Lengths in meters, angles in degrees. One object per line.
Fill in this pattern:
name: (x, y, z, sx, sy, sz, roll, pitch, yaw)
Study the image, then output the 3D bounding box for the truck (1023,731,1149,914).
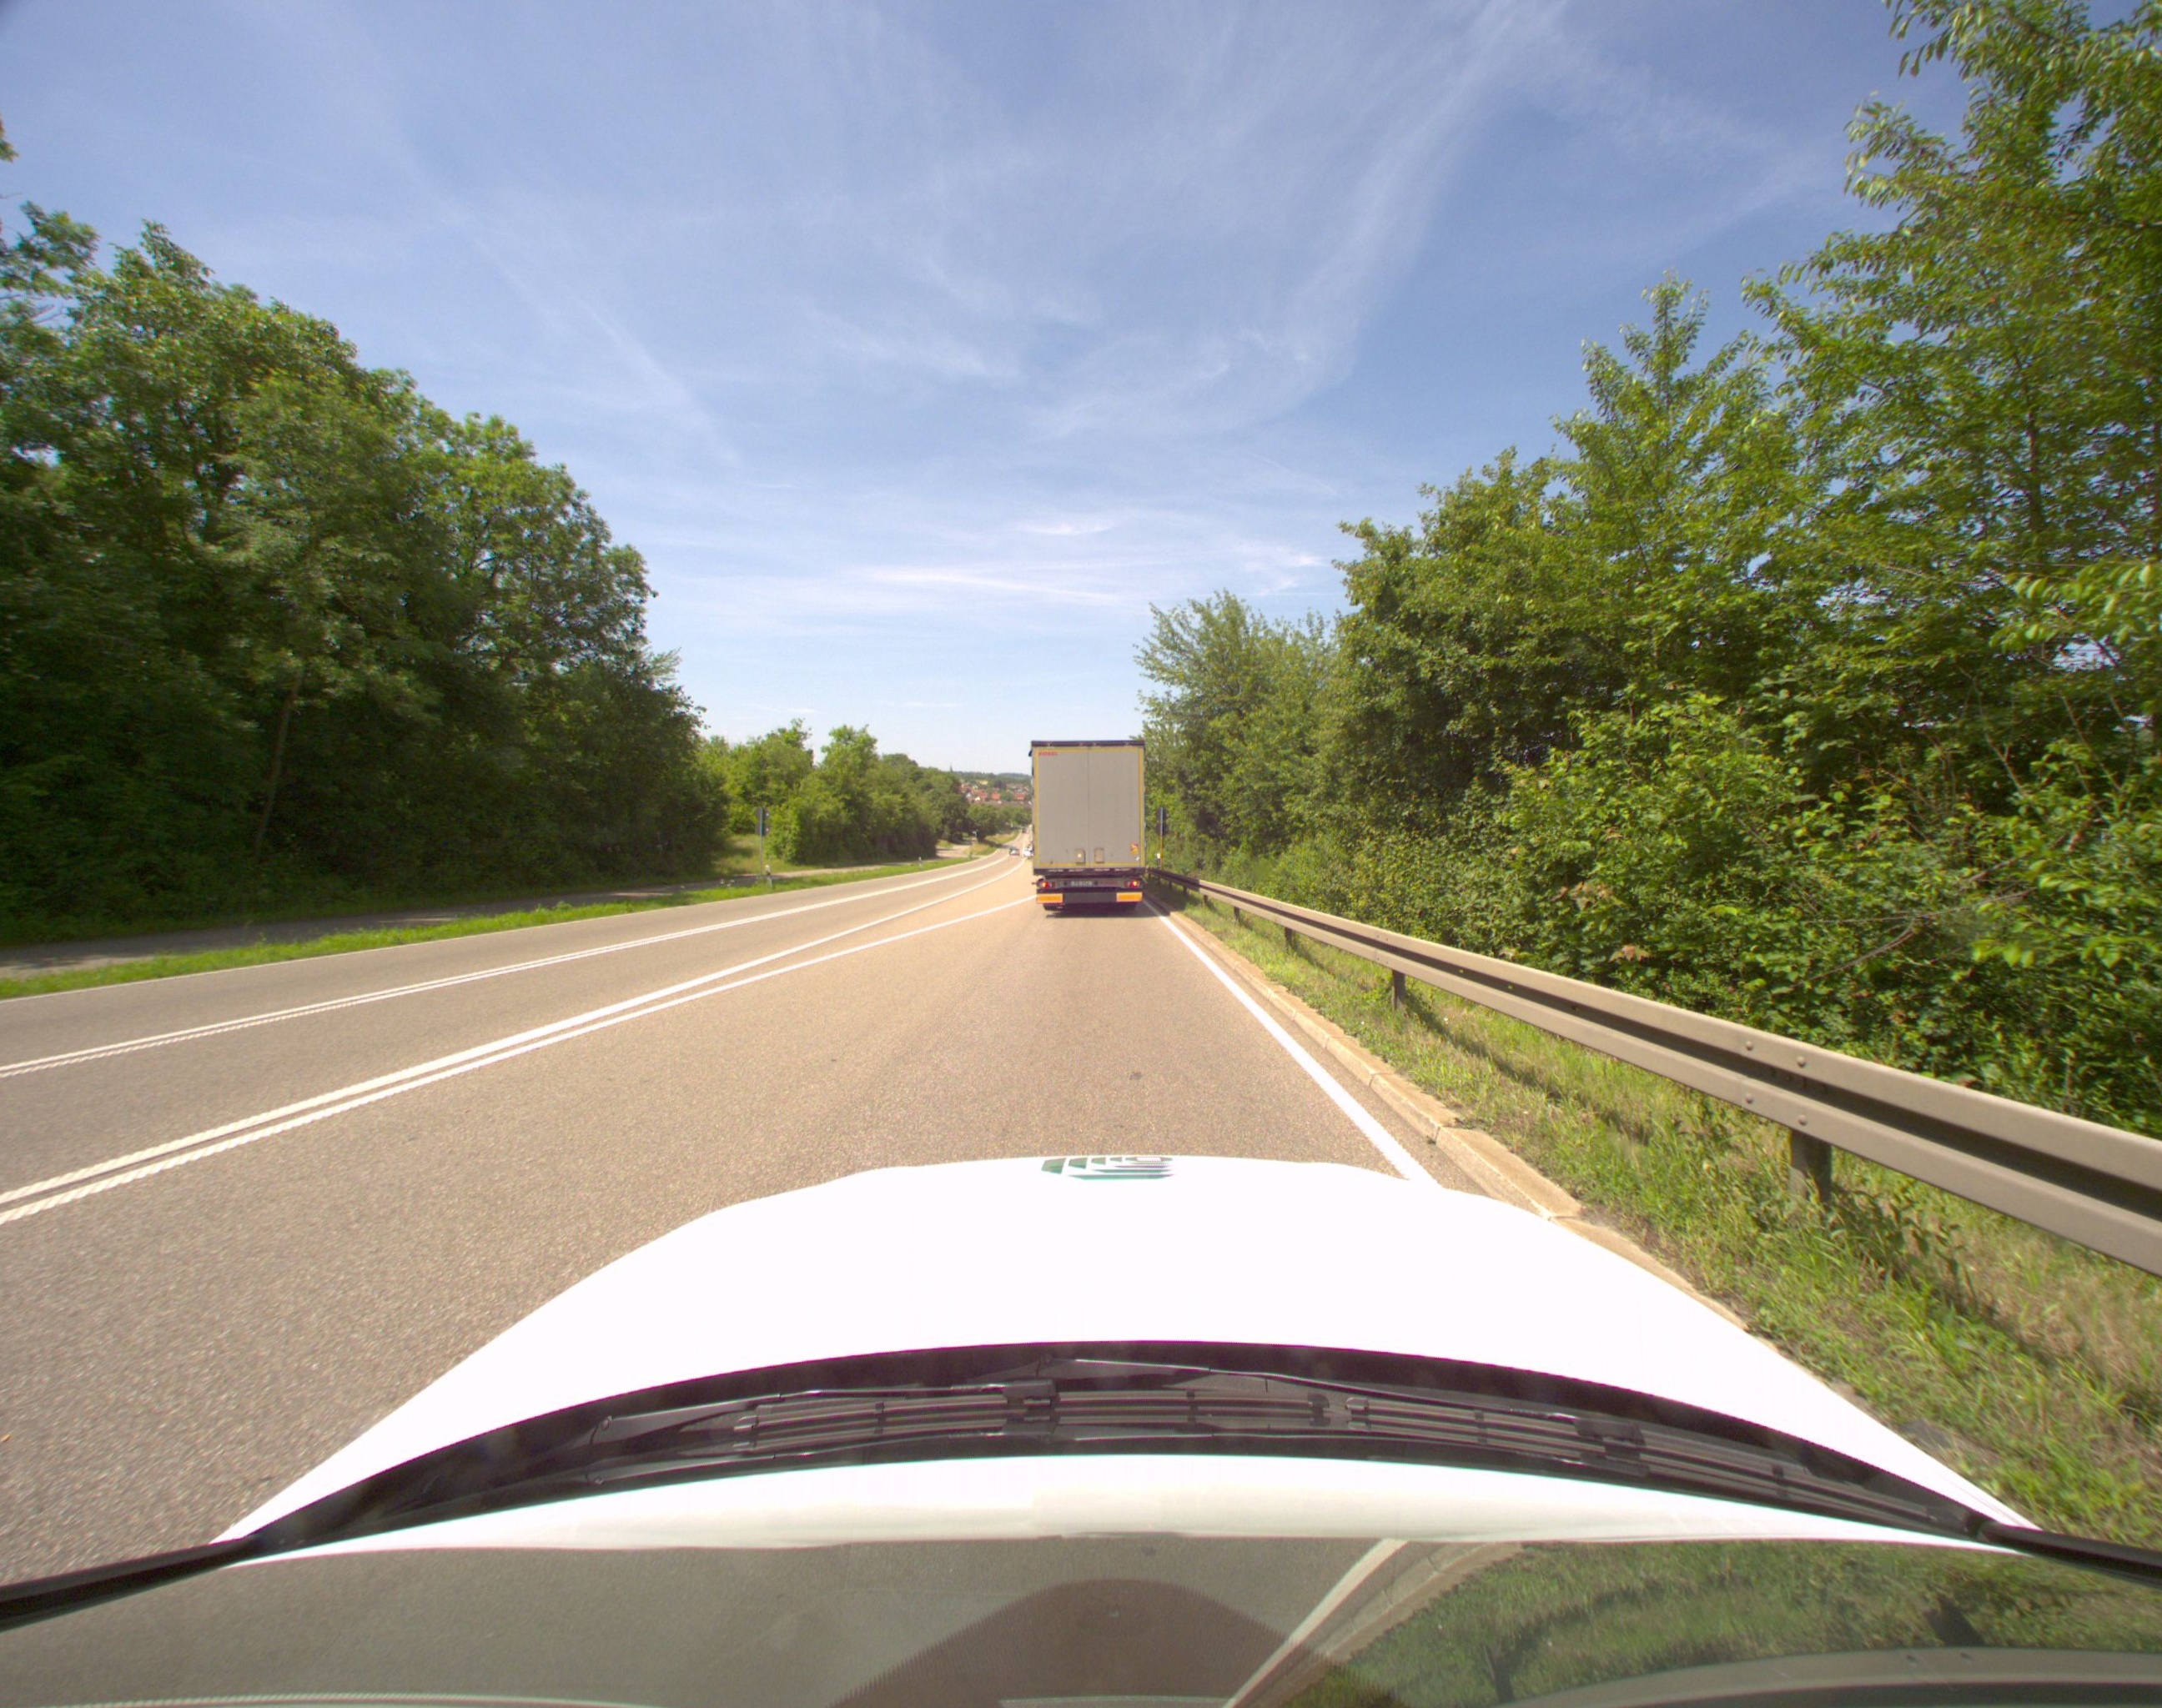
truck: (0.271, -0.727, 23.958, 2.747, 4.029, 11.927, -1, 0, 1)

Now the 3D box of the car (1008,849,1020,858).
car: (-13.684, -0.190, 166.503, 1.808, 1.794, 3.823, 0, -1, -14)

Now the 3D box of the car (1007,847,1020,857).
car: (-12.719, -0.354, 154.120, 1.767, 1.926, 3.729, 0, -1, -15)
